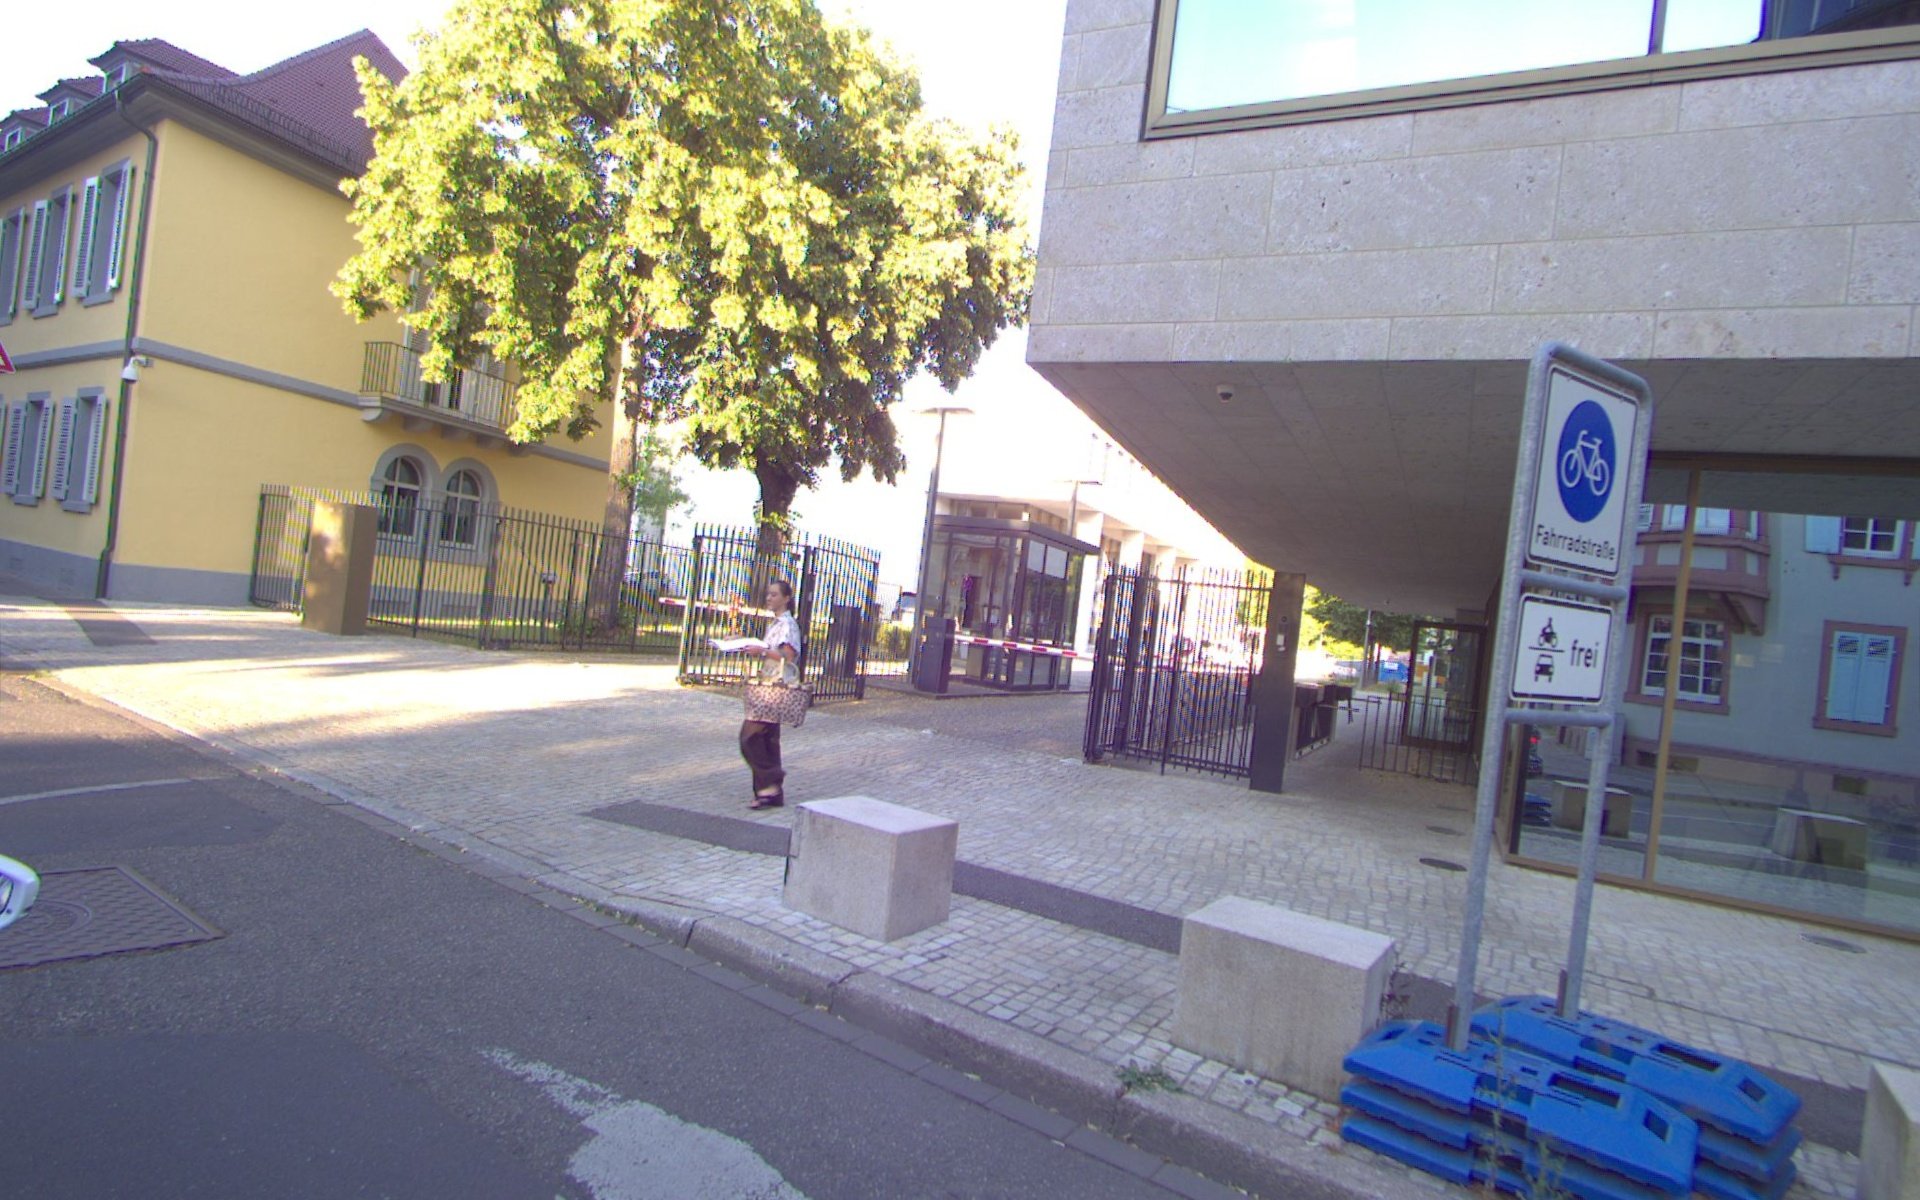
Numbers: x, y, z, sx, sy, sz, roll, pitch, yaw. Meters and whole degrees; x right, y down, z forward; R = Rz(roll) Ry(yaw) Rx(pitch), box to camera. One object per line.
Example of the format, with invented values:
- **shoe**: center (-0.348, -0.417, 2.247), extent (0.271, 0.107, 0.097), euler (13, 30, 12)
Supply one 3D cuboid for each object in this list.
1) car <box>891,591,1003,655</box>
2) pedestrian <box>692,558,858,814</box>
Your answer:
- **car**: center (-0.359, 0.791, 32.460), extent (1.681, 1.757, 4.057), euler (4, -2, 30)
- **pedestrian**: center (-1.322, 0.595, 7.114), extent (0.945, 1.680, 0.637), euler (5, 1, -18)
